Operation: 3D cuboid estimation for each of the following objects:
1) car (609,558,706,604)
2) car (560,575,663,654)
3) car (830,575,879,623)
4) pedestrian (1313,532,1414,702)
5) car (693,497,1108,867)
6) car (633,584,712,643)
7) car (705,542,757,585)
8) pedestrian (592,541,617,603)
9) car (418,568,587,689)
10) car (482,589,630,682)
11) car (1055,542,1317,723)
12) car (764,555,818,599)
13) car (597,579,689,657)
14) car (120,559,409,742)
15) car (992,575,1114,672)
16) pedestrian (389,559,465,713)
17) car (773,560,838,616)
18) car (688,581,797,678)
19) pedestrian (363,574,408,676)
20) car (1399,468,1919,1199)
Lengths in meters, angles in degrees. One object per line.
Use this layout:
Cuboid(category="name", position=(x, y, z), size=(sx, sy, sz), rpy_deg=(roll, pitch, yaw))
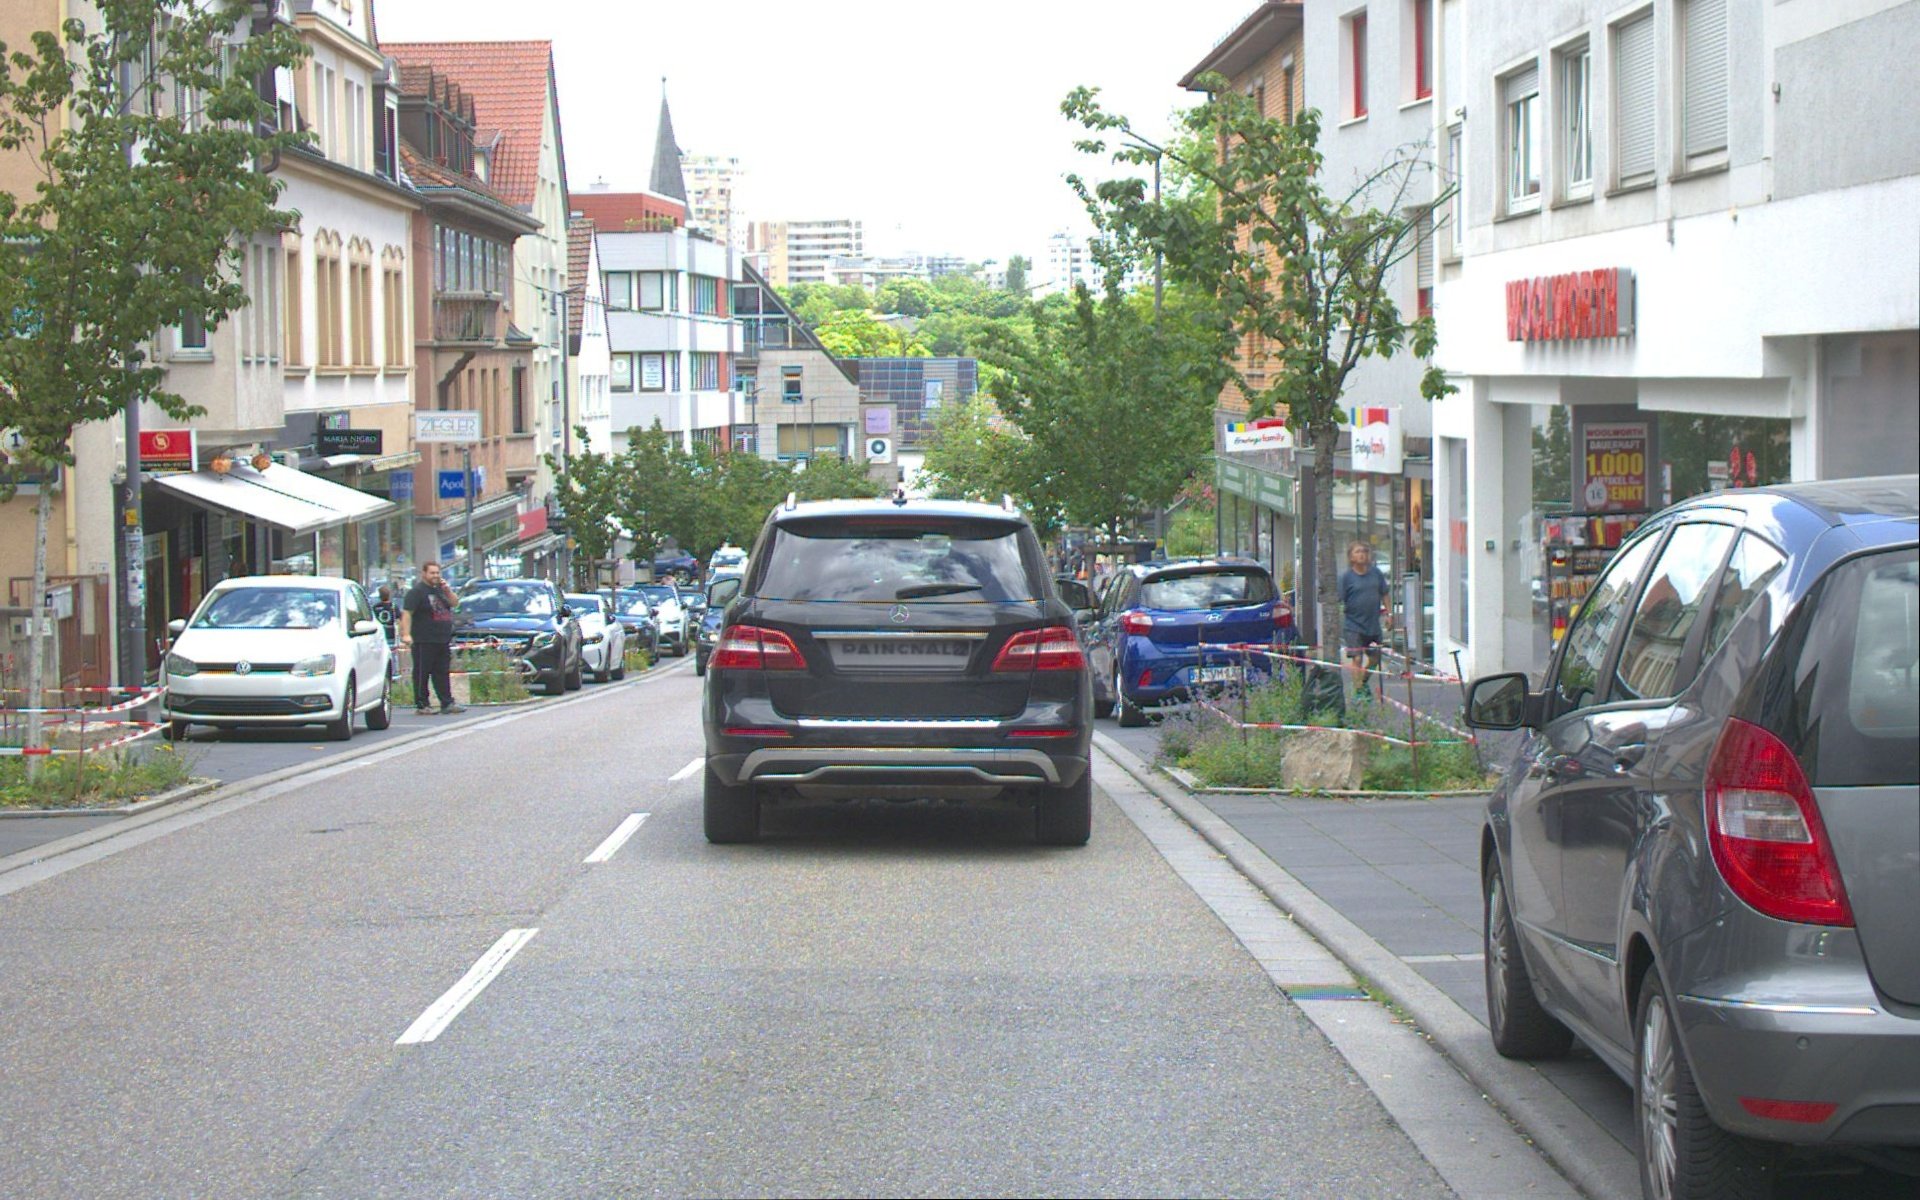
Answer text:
Cuboid(category="car", position=(-12.787, -0.820, 145.291), size=(3.986, 1.744, 2.000), rpy_deg=(-3, 0, -5))
Cuboid(category="car", position=(-7.102, 0.272, 70.306), size=(1.926, 1.491, 4.263), rpy_deg=(-1, 1, -4))
Cuboid(category="car", position=(-4.089, -0.059, 133.222), size=(1.764, 1.611, 4.033), rpy_deg=(-4, 2, -2))
Cuboid(category="pedestrian", position=(3.800, 0.156, 32.421), size=(0.756, 1.555, 0.818), rpy_deg=(-2, 0, -4))
Cuboid(category="car", position=(-0.307, 0.340, 18.266), size=(1.943, 1.734, 4.179), rpy_deg=(0, 1, -1))
Cuboid(category="car", position=(-7.841, 0.353, 94.028), size=(1.926, 1.491, 4.262), rpy_deg=(2, 1, -2))
Cuboid(category="car", position=(-9.176, -1.481, 137.972), size=(1.926, 1.623, 4.415), rpy_deg=(2, 1, -3))
Cuboid(category="pedestrian", position=(-9.600, -0.756, 92.836), size=(0.641, 1.662, 0.720), rpy_deg=(0, 0, -2))
Cuboid(category="car", position=(-6.451, 0.388, 48.905), size=(1.926, 1.616, 4.640), rpy_deg=(1, 0, -2))
Cuboid(category="car", position=(-6.592, 0.555, 56.471), size=(1.926, 1.425, 4.262), rpy_deg=(0, 0, 0))
Cuboid(category="car", position=(2.037, 0.307, 32.008), size=(1.748, 1.492, 3.800), rpy_deg=(-3, 0, -6))
Cuboid(category="car", position=(-6.610, -0.907, 135.032), size=(1.926, 1.623, 4.262), rpy_deg=(2, 1, -1))
Cuboid(category="car", position=(-7.129, 0.382, 77.604), size=(1.926, 1.590, 4.459), rpy_deg=(2, 1, -4))
Cuboid(category="car", position=(-6.334, 0.409, 31.748), size=(1.926, 1.506, 4.262), rpy_deg=(1, 1, -2))
Cuboid(category="car", position=(1.564, 0.376, 59.046), size=(1.748, 1.460, 4.075), rpy_deg=(-4, 1, -2))
Cuboid(category="pedestrian", position=(-5.876, 0.389, 37.928), size=(0.737, 1.666, 0.863), rpy_deg=(0, 0, -4))
Cuboid(category="car", position=(-4.872, -0.395, 109.067), size=(1.992, 1.712, 4.447), rpy_deg=(-1, 1, -2))
Cuboid(category="car", position=(-3.904, 0.522, 61.854), size=(1.819, 1.612, 4.136), rpy_deg=(-2, 0, -3))
Cuboid(category="pedestrian", position=(-9.053, 0.385, 54.189), size=(0.547, 1.570, 0.863), rpy_deg=(-2, 1, -2))
Cuboid(category="car", position=(2.215, 0.507, 8.312), size=(1.748, 1.602, 3.800), rpy_deg=(-2, 1, 0))
